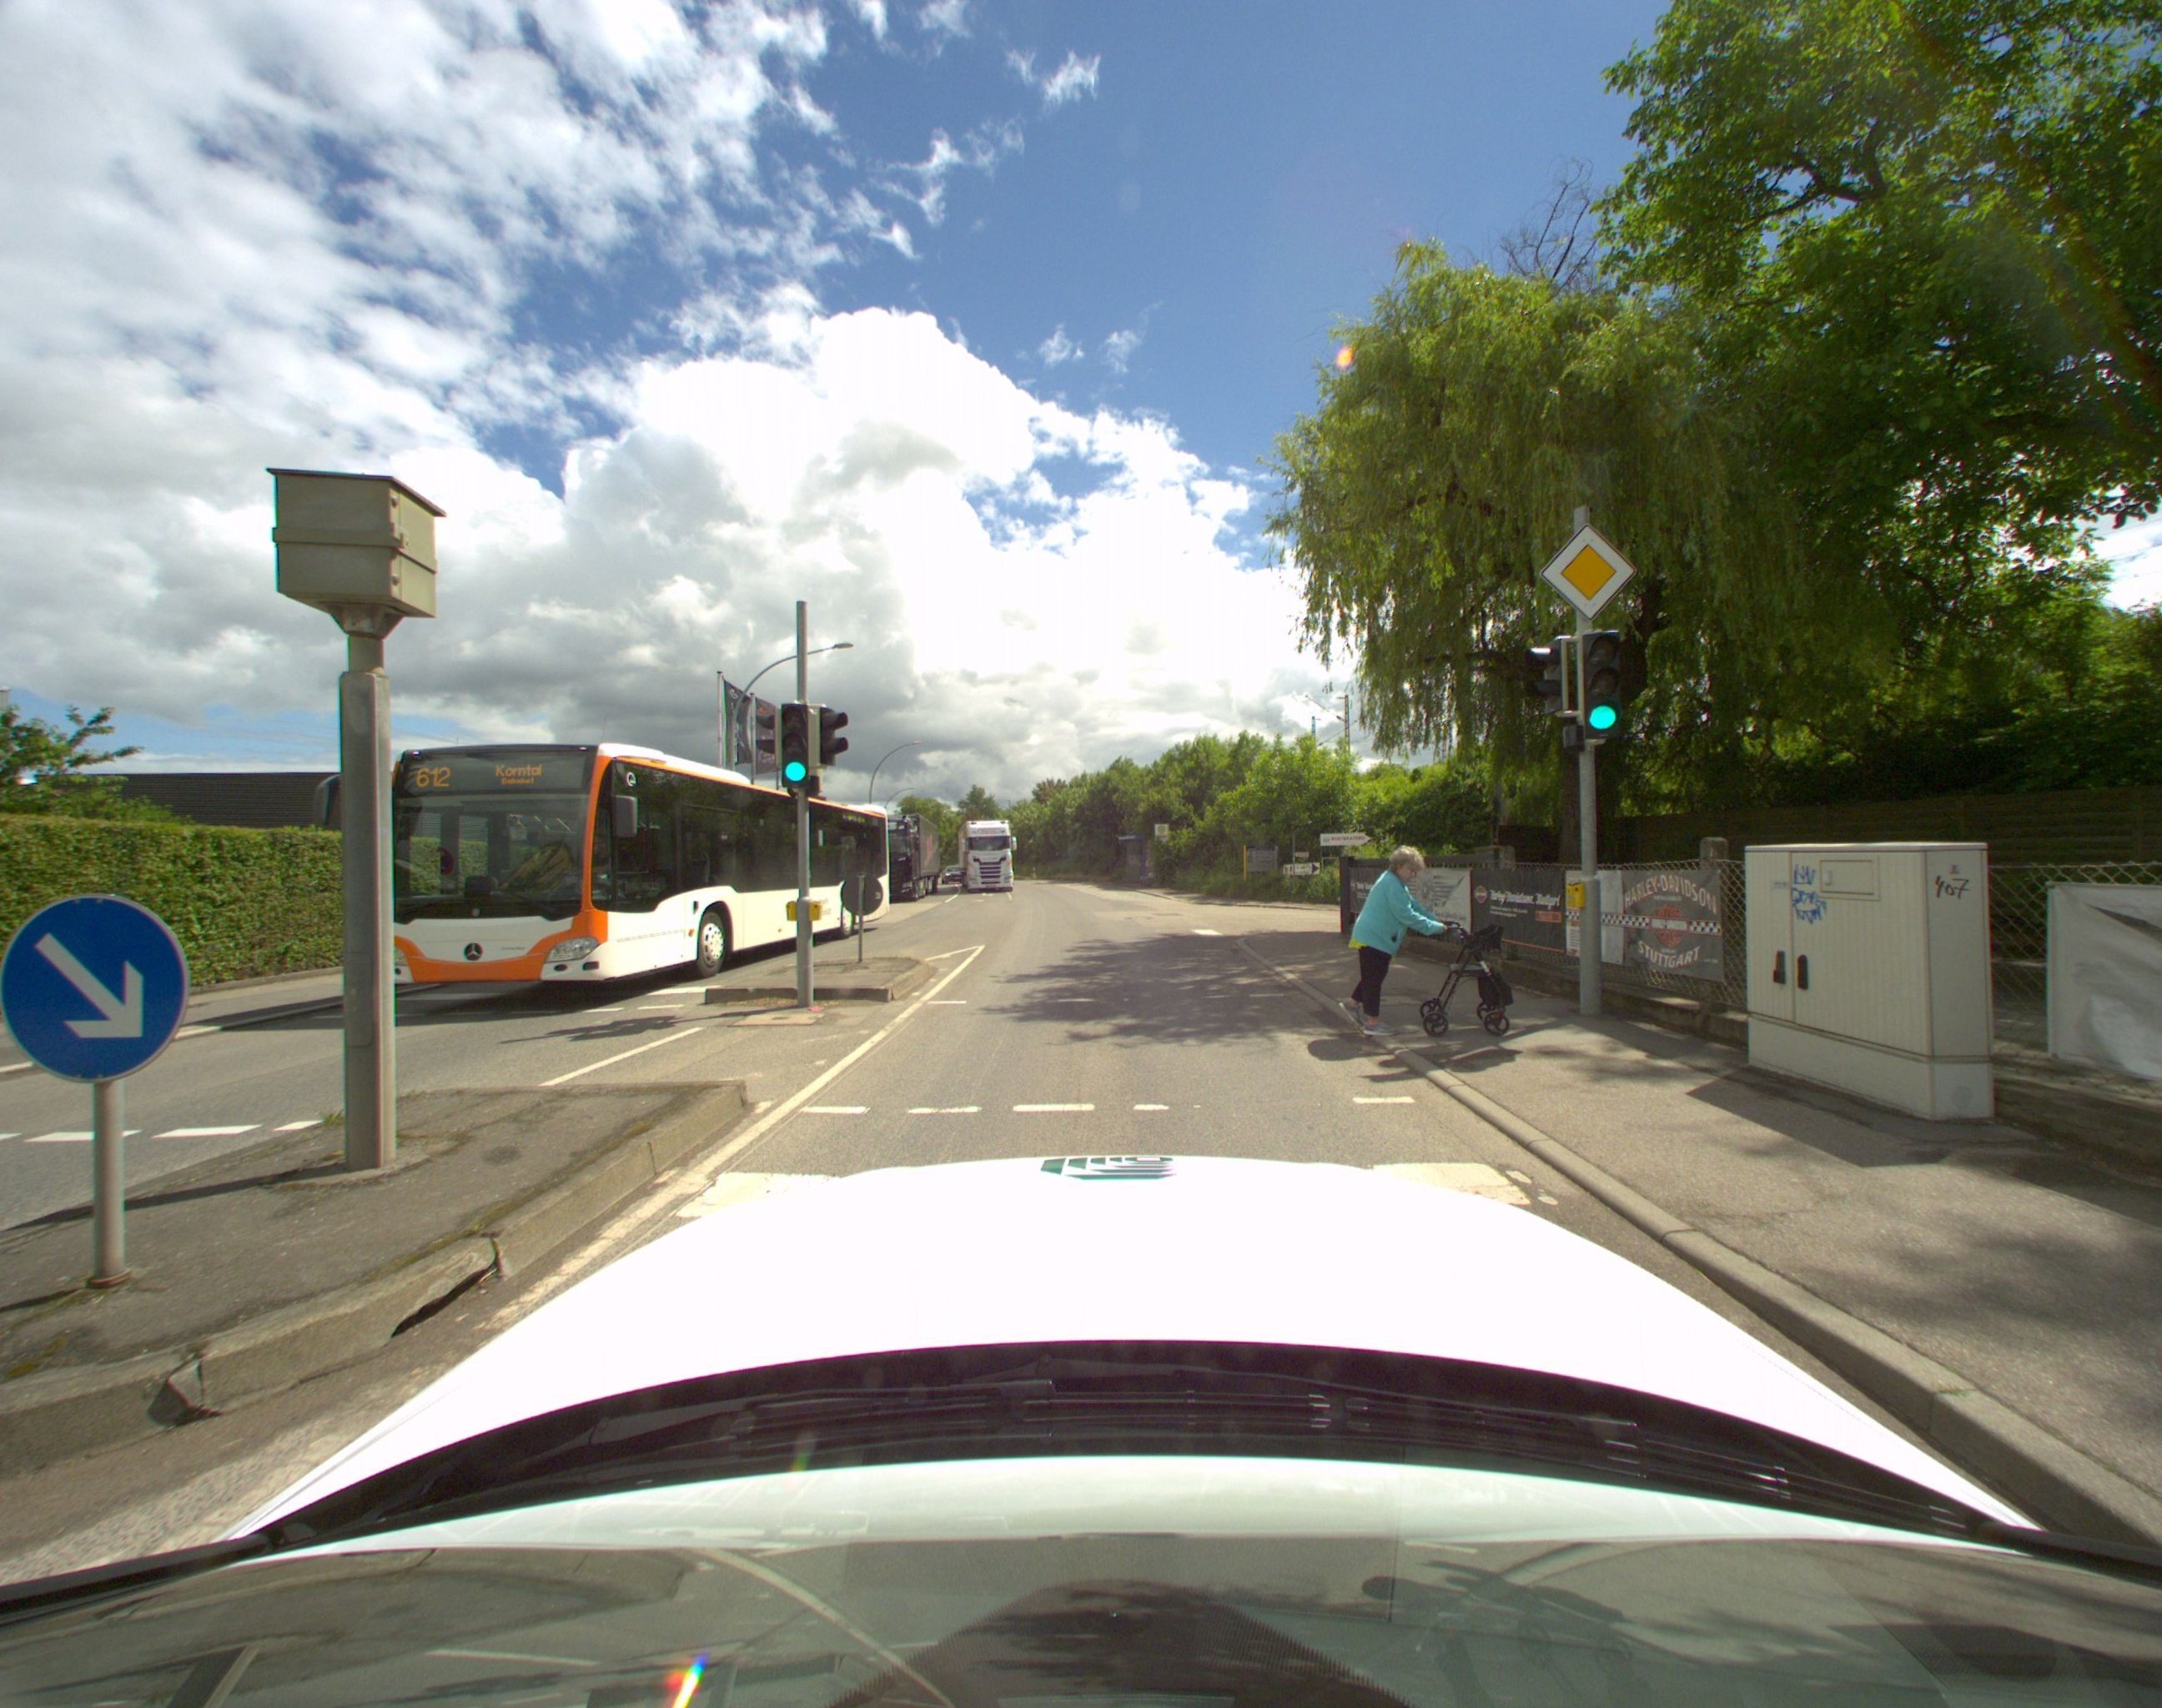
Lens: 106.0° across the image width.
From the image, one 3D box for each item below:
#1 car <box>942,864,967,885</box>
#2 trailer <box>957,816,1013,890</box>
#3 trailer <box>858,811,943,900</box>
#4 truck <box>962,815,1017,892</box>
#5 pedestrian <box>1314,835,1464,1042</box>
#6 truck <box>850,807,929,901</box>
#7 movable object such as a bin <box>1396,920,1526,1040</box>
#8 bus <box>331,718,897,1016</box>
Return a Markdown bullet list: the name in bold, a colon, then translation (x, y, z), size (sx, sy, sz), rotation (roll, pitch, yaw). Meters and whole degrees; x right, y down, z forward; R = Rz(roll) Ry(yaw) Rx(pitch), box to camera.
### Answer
- **car**: translation (-10.713, 1.737, 68.868), size (1.994, 1.706, 3.985), rotation (0, -1, -11)
- **trailer**: translation (-6.529, 0.040, 53.491), size (2.771, 4.145, 15.296), rotation (0, -1, -10)
- **trailer**: translation (-9.548, 0.163, 44.986), size (2.795, 4.053, 15.522), rotation (0, -1, -6)
- **truck**: translation (-5.298, -0.008, 46.483), size (2.772, 4.119, 4.968), rotation (0, -1, -10)
- **pedestrian**: translation (2.492, 0.659, 6.679), size (0.836, 1.543, 0.734), rotation (-5, -1, 0)
- **truck**: translation (-8.880, 0.054, 38.429), size (2.795, 4.053, 6.487), rotation (0, -1, -6)
- **movable object such as a bin**: translation (3.067, 1.000, 6.637), size (0.743, 0.872, 0.671), rotation (-1, -1, 0)
- **bus**: translation (-6.280, 0.227, 14.631), size (2.708, 3.031, 12.270), rotation (-2, -1, 2)
